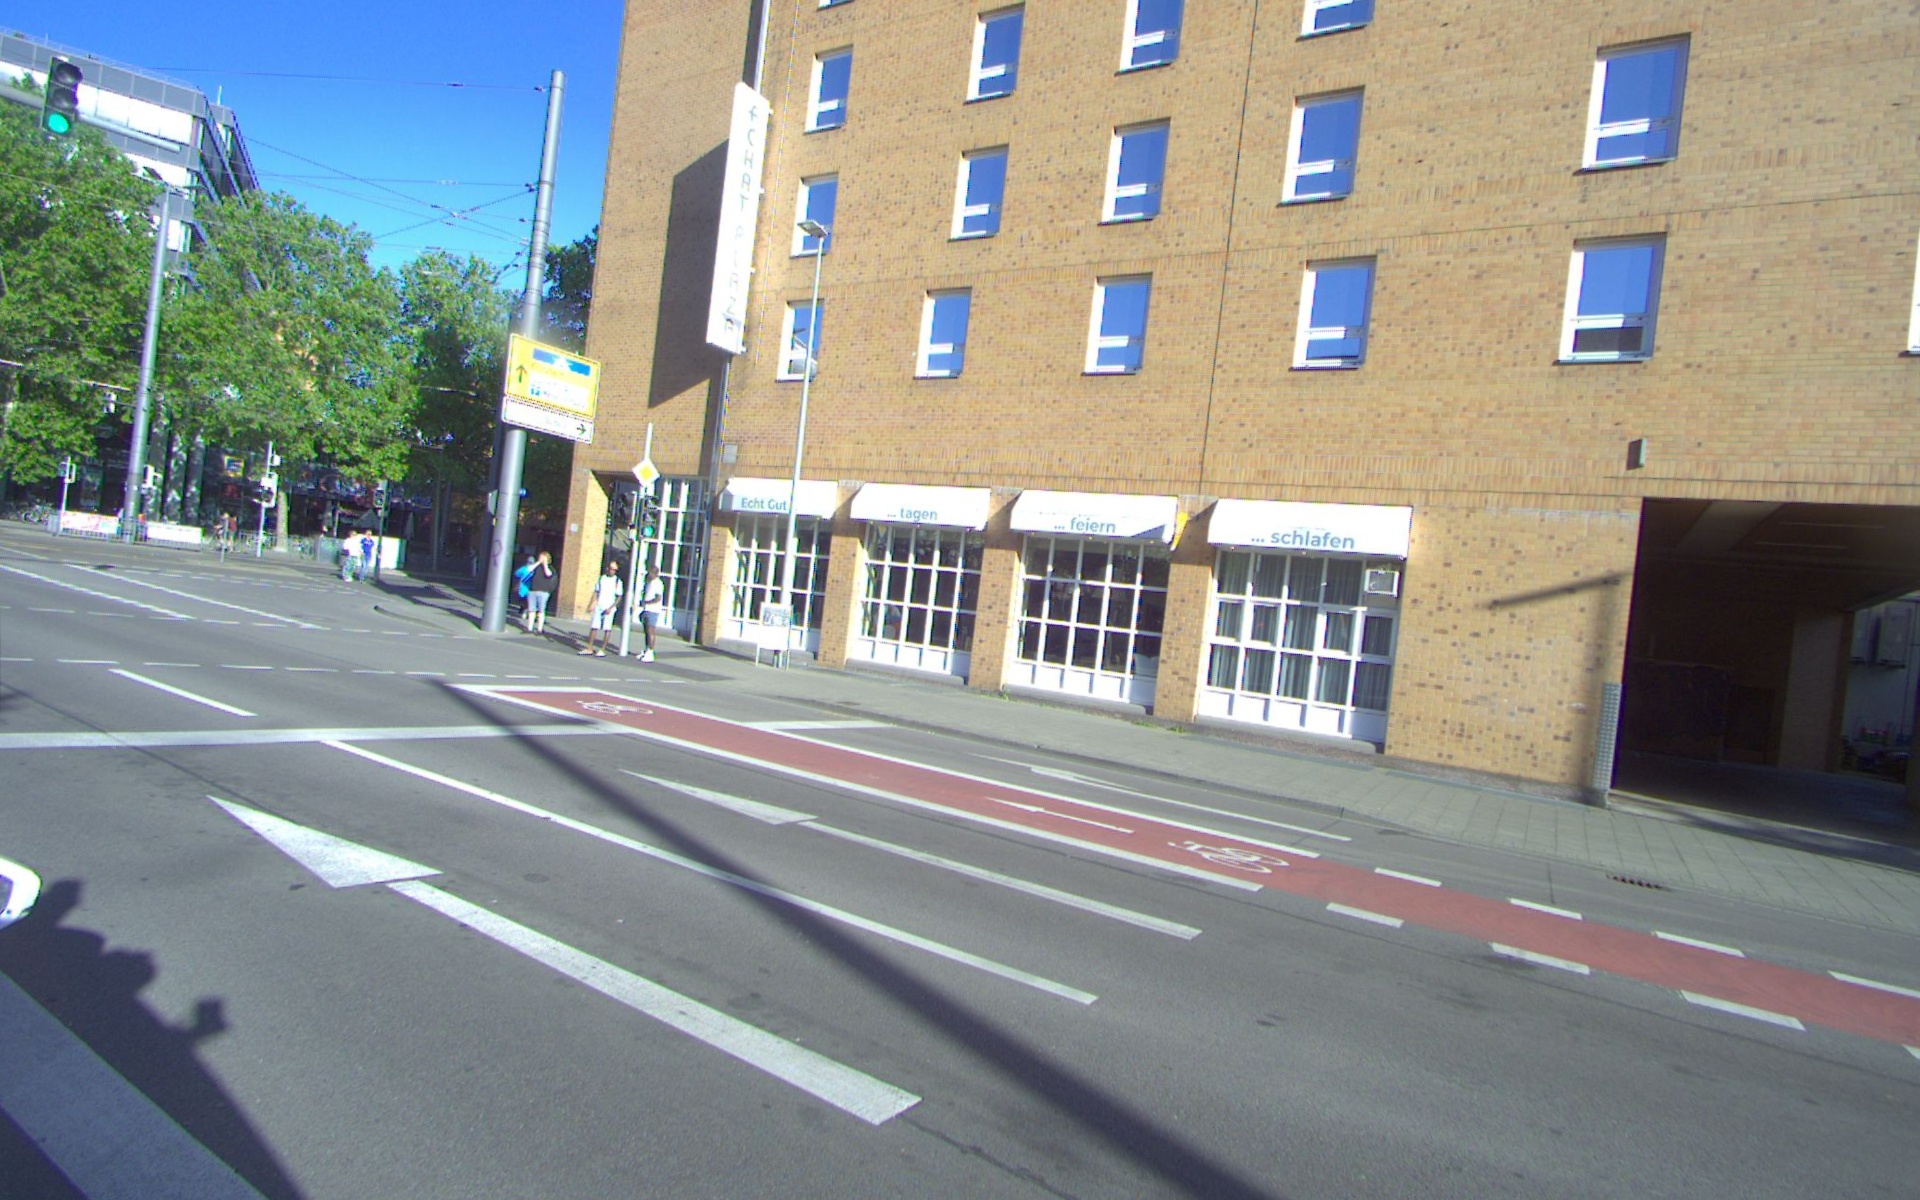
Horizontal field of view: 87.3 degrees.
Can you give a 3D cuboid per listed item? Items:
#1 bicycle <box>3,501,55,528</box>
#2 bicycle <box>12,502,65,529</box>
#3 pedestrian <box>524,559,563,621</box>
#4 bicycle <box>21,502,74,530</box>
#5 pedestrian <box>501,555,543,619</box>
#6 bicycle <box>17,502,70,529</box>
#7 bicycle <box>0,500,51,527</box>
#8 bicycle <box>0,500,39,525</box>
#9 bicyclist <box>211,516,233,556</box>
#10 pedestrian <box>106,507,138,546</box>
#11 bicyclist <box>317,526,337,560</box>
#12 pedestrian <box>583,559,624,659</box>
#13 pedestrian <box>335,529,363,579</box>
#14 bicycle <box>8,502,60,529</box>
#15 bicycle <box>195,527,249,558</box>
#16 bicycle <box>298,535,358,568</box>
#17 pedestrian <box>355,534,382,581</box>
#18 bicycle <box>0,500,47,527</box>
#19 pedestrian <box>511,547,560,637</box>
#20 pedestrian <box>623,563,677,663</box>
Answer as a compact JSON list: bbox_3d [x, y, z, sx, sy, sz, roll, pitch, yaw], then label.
[{"bbox_3d":[-48.345,-4.431,52.271,0.354,1.058,1.884,6,-2,31],"label":"bicycle"},{"bbox_3d":[-47.329,-4.336,51.698,0.354,1.058,1.884,6,-2,31],"label":"bicycle"},{"bbox_3d":[-10.528,-0.251,25.421,0.543,1.495,0.593,6,0,32],"label":"pedestrian"},{"bbox_3d":[-46.052,-4.237,50.778,0.354,1.058,1.884,6,-2,31],"label":"bicycle"},{"bbox_3d":[-10.754,-0.313,24.714,0.591,1.470,0.593,6,0,32],"label":"pedestrian"},{"bbox_3d":[-46.673,-4.285,51.237,0.354,1.058,1.884,6,-2,31],"label":"bicycle"},{"bbox_3d":[-48.775,-4.490,52.475,0.354,1.058,1.885,7,-2,31],"label":"bicycle"},{"bbox_3d":[-50.158,-4.648,53.311,0.354,1.058,1.885,7,-2,31],"label":"bicycle"},{"bbox_3d":[-36.341,-3.142,49.521,0.396,1.859,0.585,6,-1,31],"label":"bicyclist"},{"bbox_3d":[-40.214,-3.509,48.288,0.747,1.724,0.834,6,-1,32],"label":"pedestrian"},{"bbox_3d":[-30.392,-2.716,48.275,0.628,1.536,0.562,8,-1,-35],"label":"bicyclist"},{"bbox_3d":[-6.705,0.163,18.926,0.586,1.804,0.678,4,3,-21],"label":"pedestrian"},{"bbox_3d":[-20.128,-1.505,33.159,0.563,1.550,0.695,8,-2,-37],"label":"pedestrian"},{"bbox_3d":[-47.814,-4.376,51.952,0.354,1.058,1.884,7,-2,31],"label":"bicycle"},{"bbox_3d":[-36.326,-2.825,49.536,0.414,1.228,2.046,6,-2,32],"label":"bicycle"},{"bbox_3d":[-30.350,-2.320,48.343,2.310,1.191,0.563,9,-2,-36],"label":"bicycle"},{"bbox_3d":[-19.837,-1.413,33.728,0.563,1.496,0.695,8,-2,-37],"label":"pedestrian"},{"bbox_3d":[-49.191,-4.539,52.733,0.354,1.058,1.885,7,-2,31],"label":"bicycle"},{"bbox_3d":[-9.059,-0.156,21.488,0.726,1.813,0.510,7,-1,-19],"label":"pedestrian"},{"bbox_3d":[-5.853,0.250,19.029,0.583,1.802,0.682,6,0,6],"label":"pedestrian"}]
